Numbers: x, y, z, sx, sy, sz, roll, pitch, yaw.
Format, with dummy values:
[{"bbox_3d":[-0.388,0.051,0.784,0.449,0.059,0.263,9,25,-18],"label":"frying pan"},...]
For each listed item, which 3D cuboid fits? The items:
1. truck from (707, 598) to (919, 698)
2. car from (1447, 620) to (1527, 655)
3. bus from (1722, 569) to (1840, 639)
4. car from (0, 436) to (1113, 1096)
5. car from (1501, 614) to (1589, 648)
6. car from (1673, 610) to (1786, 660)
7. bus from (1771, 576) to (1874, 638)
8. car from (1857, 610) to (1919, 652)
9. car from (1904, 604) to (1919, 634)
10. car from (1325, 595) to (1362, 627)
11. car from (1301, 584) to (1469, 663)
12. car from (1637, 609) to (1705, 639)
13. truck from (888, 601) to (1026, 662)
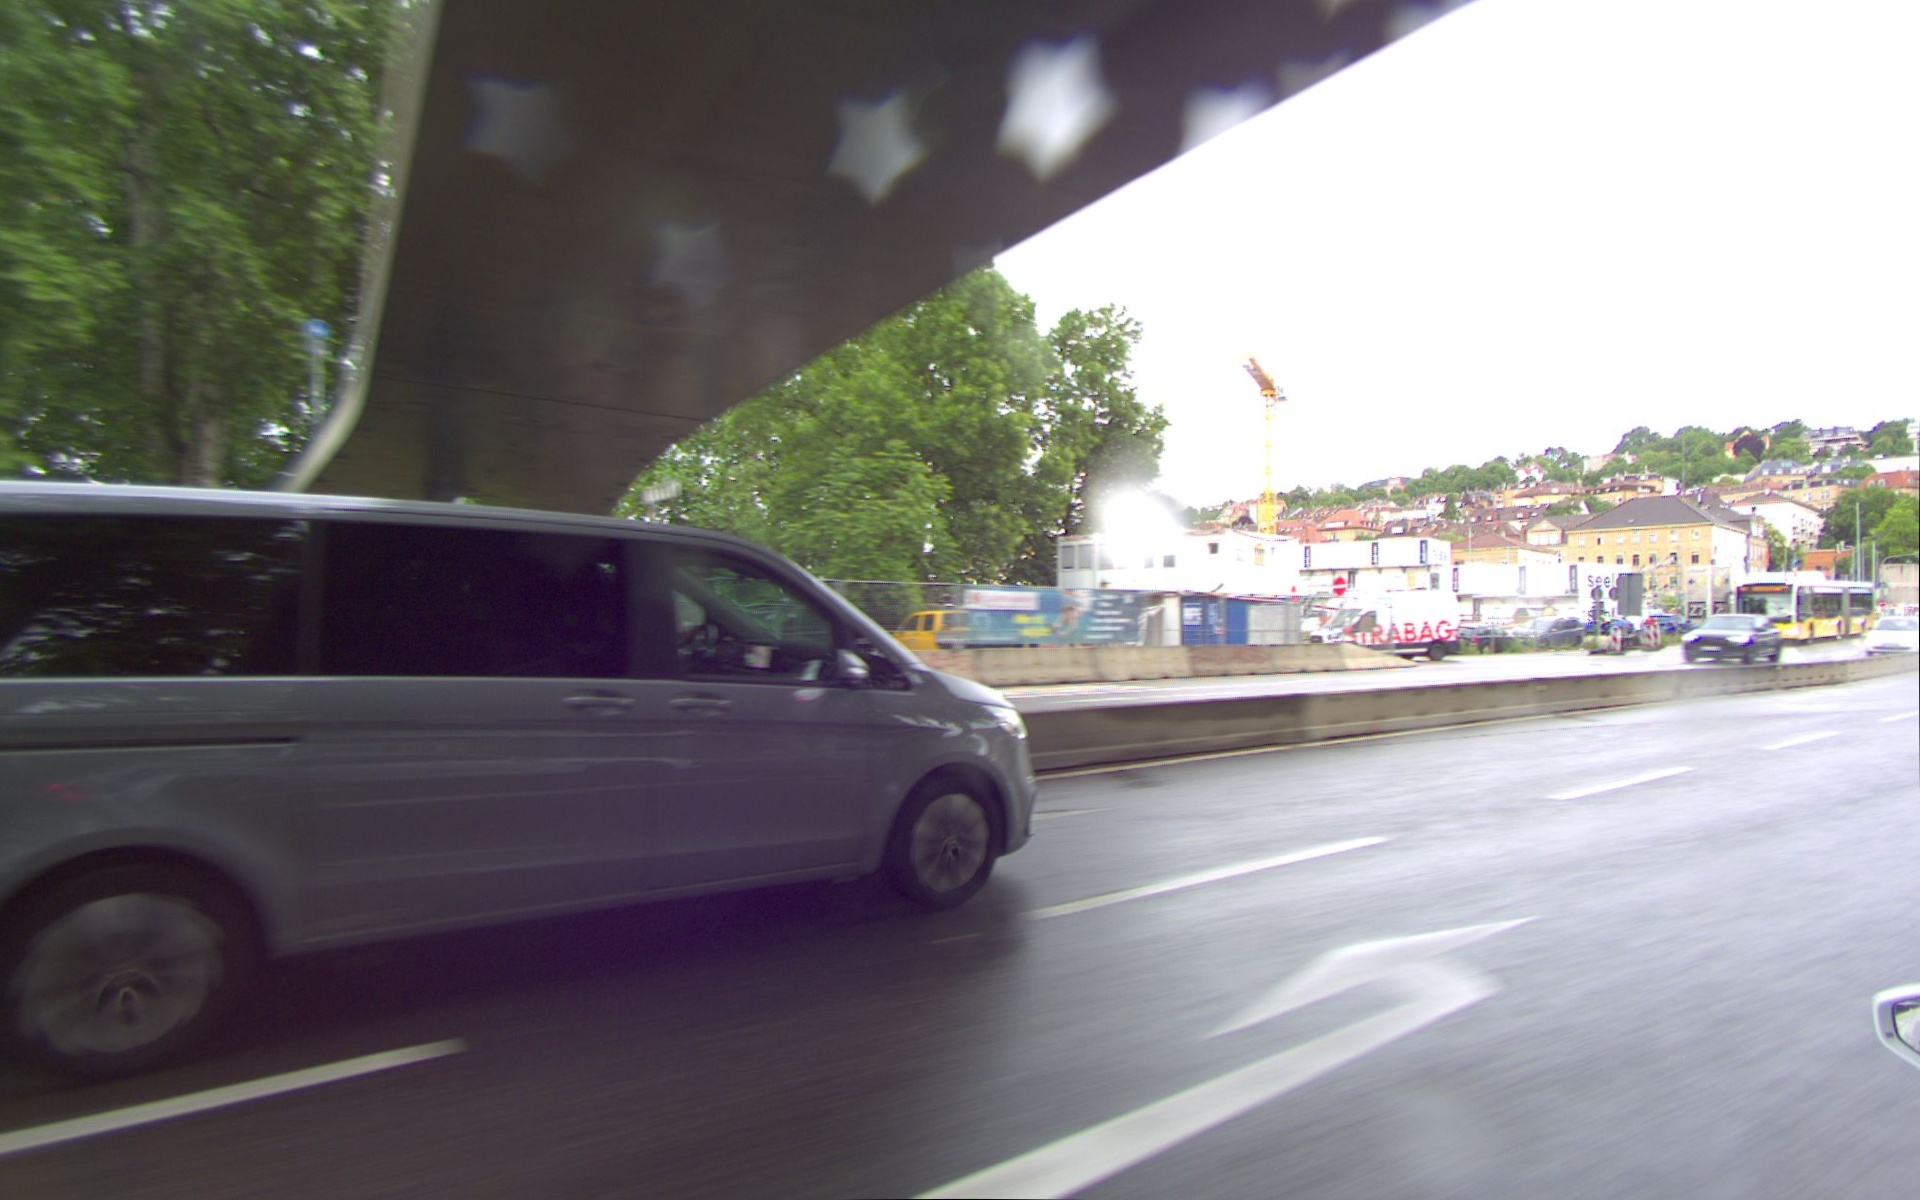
[{"bbox_3d":[-4.221,1.317,27.987,2.677,2.484,6.214,3,-4,-45],"label":"truck"},{"bbox_3d":[25.520,1.774,48.578,4.134,1.586,1.750,0,-1,-35],"label":"car"},{"bbox_3d":[41.420,0.334,50.536,8.730,3.226,2.785,2,-2,-38],"label":"bus"},{"bbox_3d":[-1.904,0.518,4.686,5.305,1.881,1.980,2,-1,-36],"label":"car"},{"bbox_3d":[29.774,1.604,51.122,4.625,1.586,1.755,2,-3,-29],"label":"car"},{"bbox_3d":[27.321,1.224,35.606,4.810,1.652,2.066,1,-2,-38],"label":"car"},{"bbox_3d":[48.297,0.498,56.161,9.070,3.193,2.683,2,-2,-38],"label":"bus"},{"bbox_3d":[36.234,1.229,38.831,3.419,1.509,1.697,3,-3,-37],"label":"car"},{"bbox_3d":[58.932,1.167,60.811,4.893,1.683,2.022,3,-3,-40],"label":"car"},{"bbox_3d":[36.503,1.086,95.528,1.968,2.867,5.294,-1,-3,37],"label":"car"},{"bbox_3d":[16.585,0.956,39.288,5.945,2.912,1.996,1,-2,-11],"label":"car"},{"bbox_3d":[41.269,1.364,58.314,3.959,1.643,1.981,0,-1,-34],"label":"car"},{"bbox_3d":[-0.195,1.149,36.383,2.147,2.040,5.201,2,-3,-41],"label":"truck"}]
